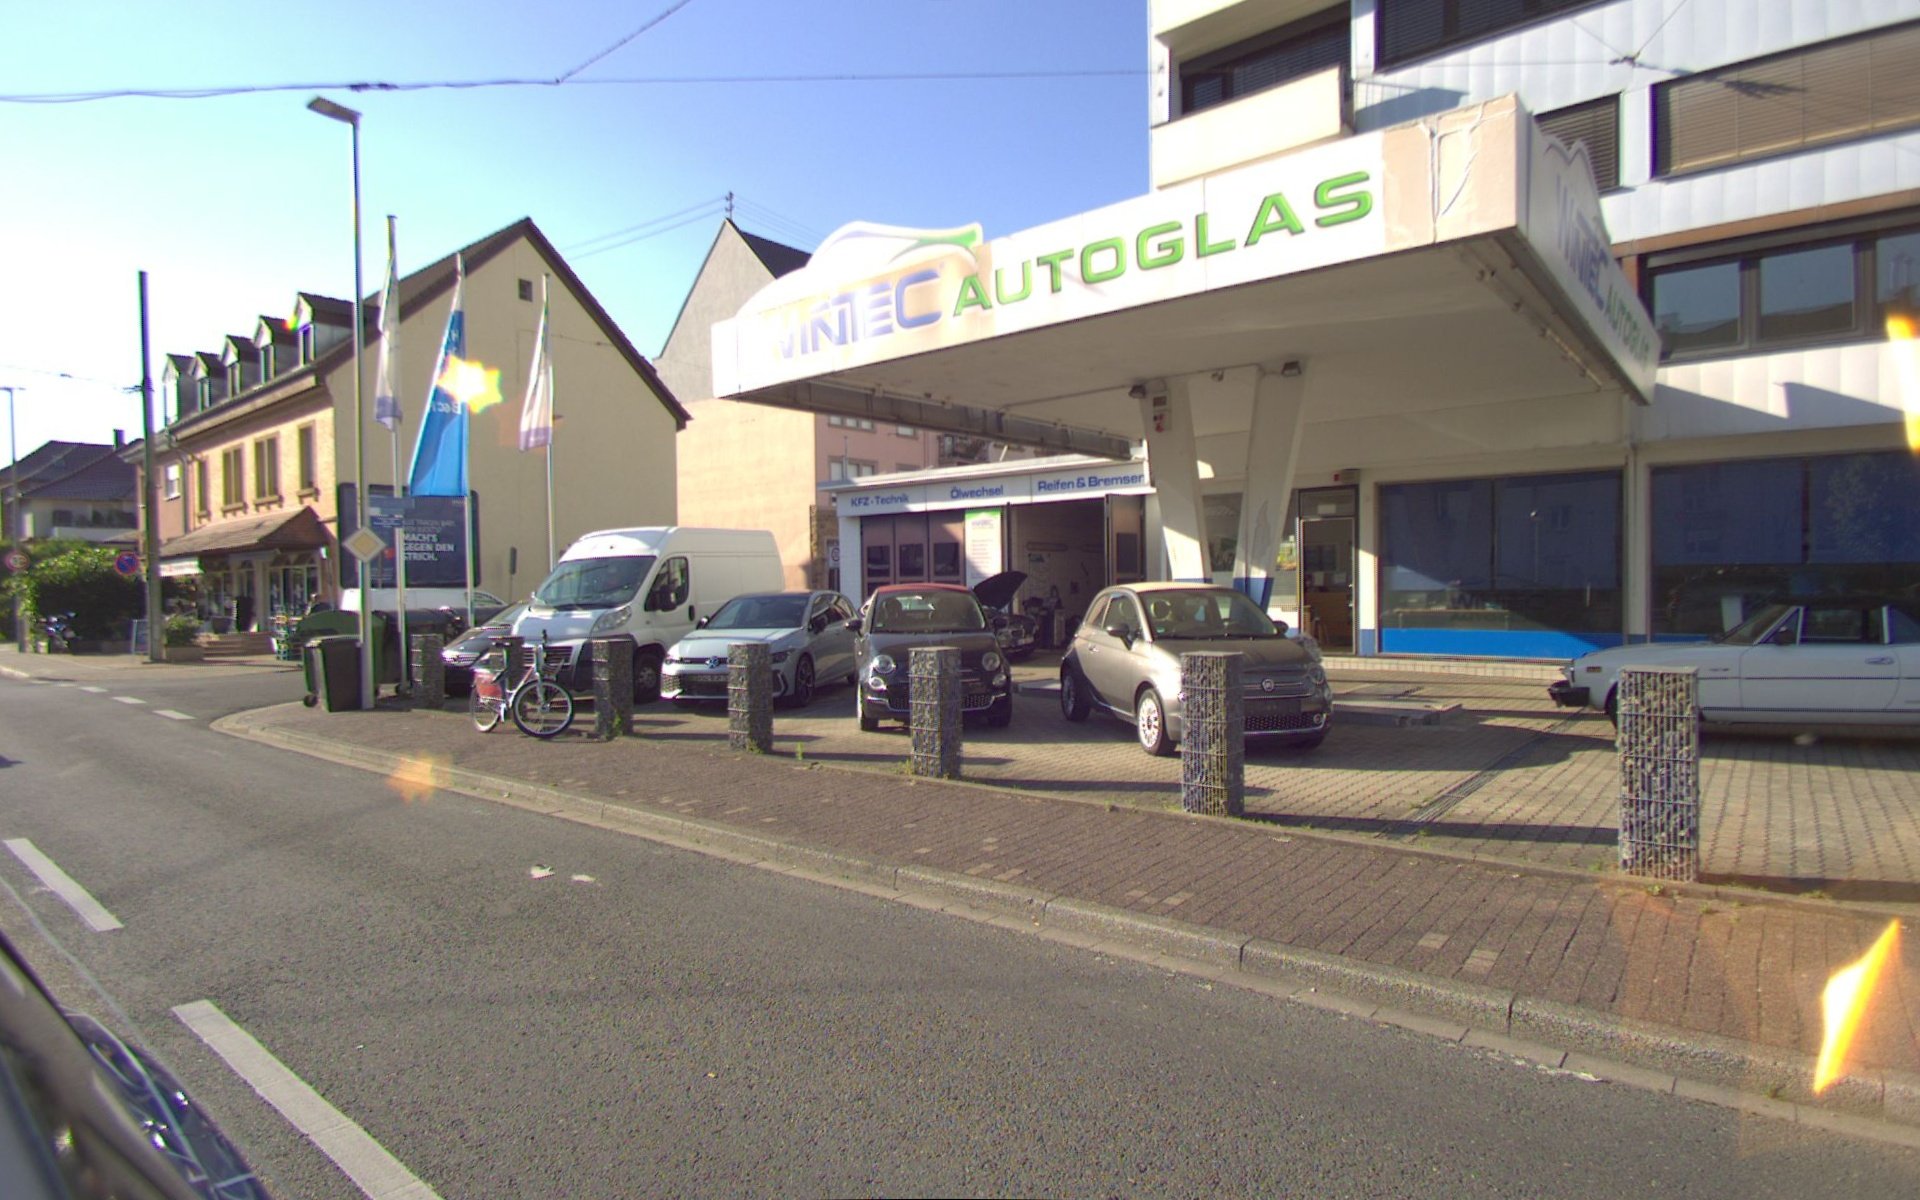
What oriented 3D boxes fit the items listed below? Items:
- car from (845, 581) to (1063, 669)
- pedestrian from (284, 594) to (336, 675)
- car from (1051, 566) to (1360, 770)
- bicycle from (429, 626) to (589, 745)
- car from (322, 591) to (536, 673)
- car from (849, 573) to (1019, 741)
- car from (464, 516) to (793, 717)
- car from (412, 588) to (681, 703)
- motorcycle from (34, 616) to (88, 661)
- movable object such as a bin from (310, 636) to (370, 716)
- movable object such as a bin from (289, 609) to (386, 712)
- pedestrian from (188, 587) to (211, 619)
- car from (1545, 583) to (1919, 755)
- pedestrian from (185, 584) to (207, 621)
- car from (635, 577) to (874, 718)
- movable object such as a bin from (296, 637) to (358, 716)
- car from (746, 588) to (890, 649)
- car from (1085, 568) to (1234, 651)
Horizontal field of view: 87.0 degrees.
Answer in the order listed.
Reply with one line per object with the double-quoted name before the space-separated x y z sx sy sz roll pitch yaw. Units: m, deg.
"car" -0.196 0.490 20.740 4.311 1.580 1.750 -1 1 39
"pedestrian" -15.534 0.803 24.196 0.794 1.882 0.809 -1 0 39
"car" 2.146 0.521 9.799 1.595 1.580 3.402 -1 1 -11
"bicycle" -4.970 0.894 11.127 1.774 1.186 0.718 -1 0 31
"car" -13.844 0.755 26.611 1.997 1.947 4.571 -1 0 38
"car" -0.431 0.528 11.504 1.597 1.580 3.399 -1 1 -6
"car" -4.658 0.158 15.242 2.091 2.488 5.042 -1 1 18
"car" -6.703 0.671 16.876 1.763 1.580 3.966 -2 1 26
"motorcycle" -28.037 1.173 31.548 2.229 1.292 0.831 0 2 38
"movable object such as a bin" -8.870 1.080 14.479 0.631 1.077 0.581 -2 -2 -38
"movable object such as a bin" -9.771 0.938 15.951 1.040 1.494 1.316 -3 -2 -21
"pedestrian" -25.854 0.104 34.406 0.381 1.055 0.521 -1 0 24
"car" 7.429 0.528 8.555 4.131 1.294 1.572 -2 0 37
"pedestrian" -26.673 0.093 35.352 0.465 1.268 0.517 -1 0 42
"car" -2.563 0.515 13.663 1.754 1.580 3.987 -2 1 11
"movable object such as a bin" -9.312 1.106 14.890 0.652 1.070 0.586 -4 1 -38
"car" -4.219 0.489 30.423 1.999 1.536 3.947 5 4 40
"car" 4.789 0.166 23.837 1.769 1.722 4.263 -2 1 36
